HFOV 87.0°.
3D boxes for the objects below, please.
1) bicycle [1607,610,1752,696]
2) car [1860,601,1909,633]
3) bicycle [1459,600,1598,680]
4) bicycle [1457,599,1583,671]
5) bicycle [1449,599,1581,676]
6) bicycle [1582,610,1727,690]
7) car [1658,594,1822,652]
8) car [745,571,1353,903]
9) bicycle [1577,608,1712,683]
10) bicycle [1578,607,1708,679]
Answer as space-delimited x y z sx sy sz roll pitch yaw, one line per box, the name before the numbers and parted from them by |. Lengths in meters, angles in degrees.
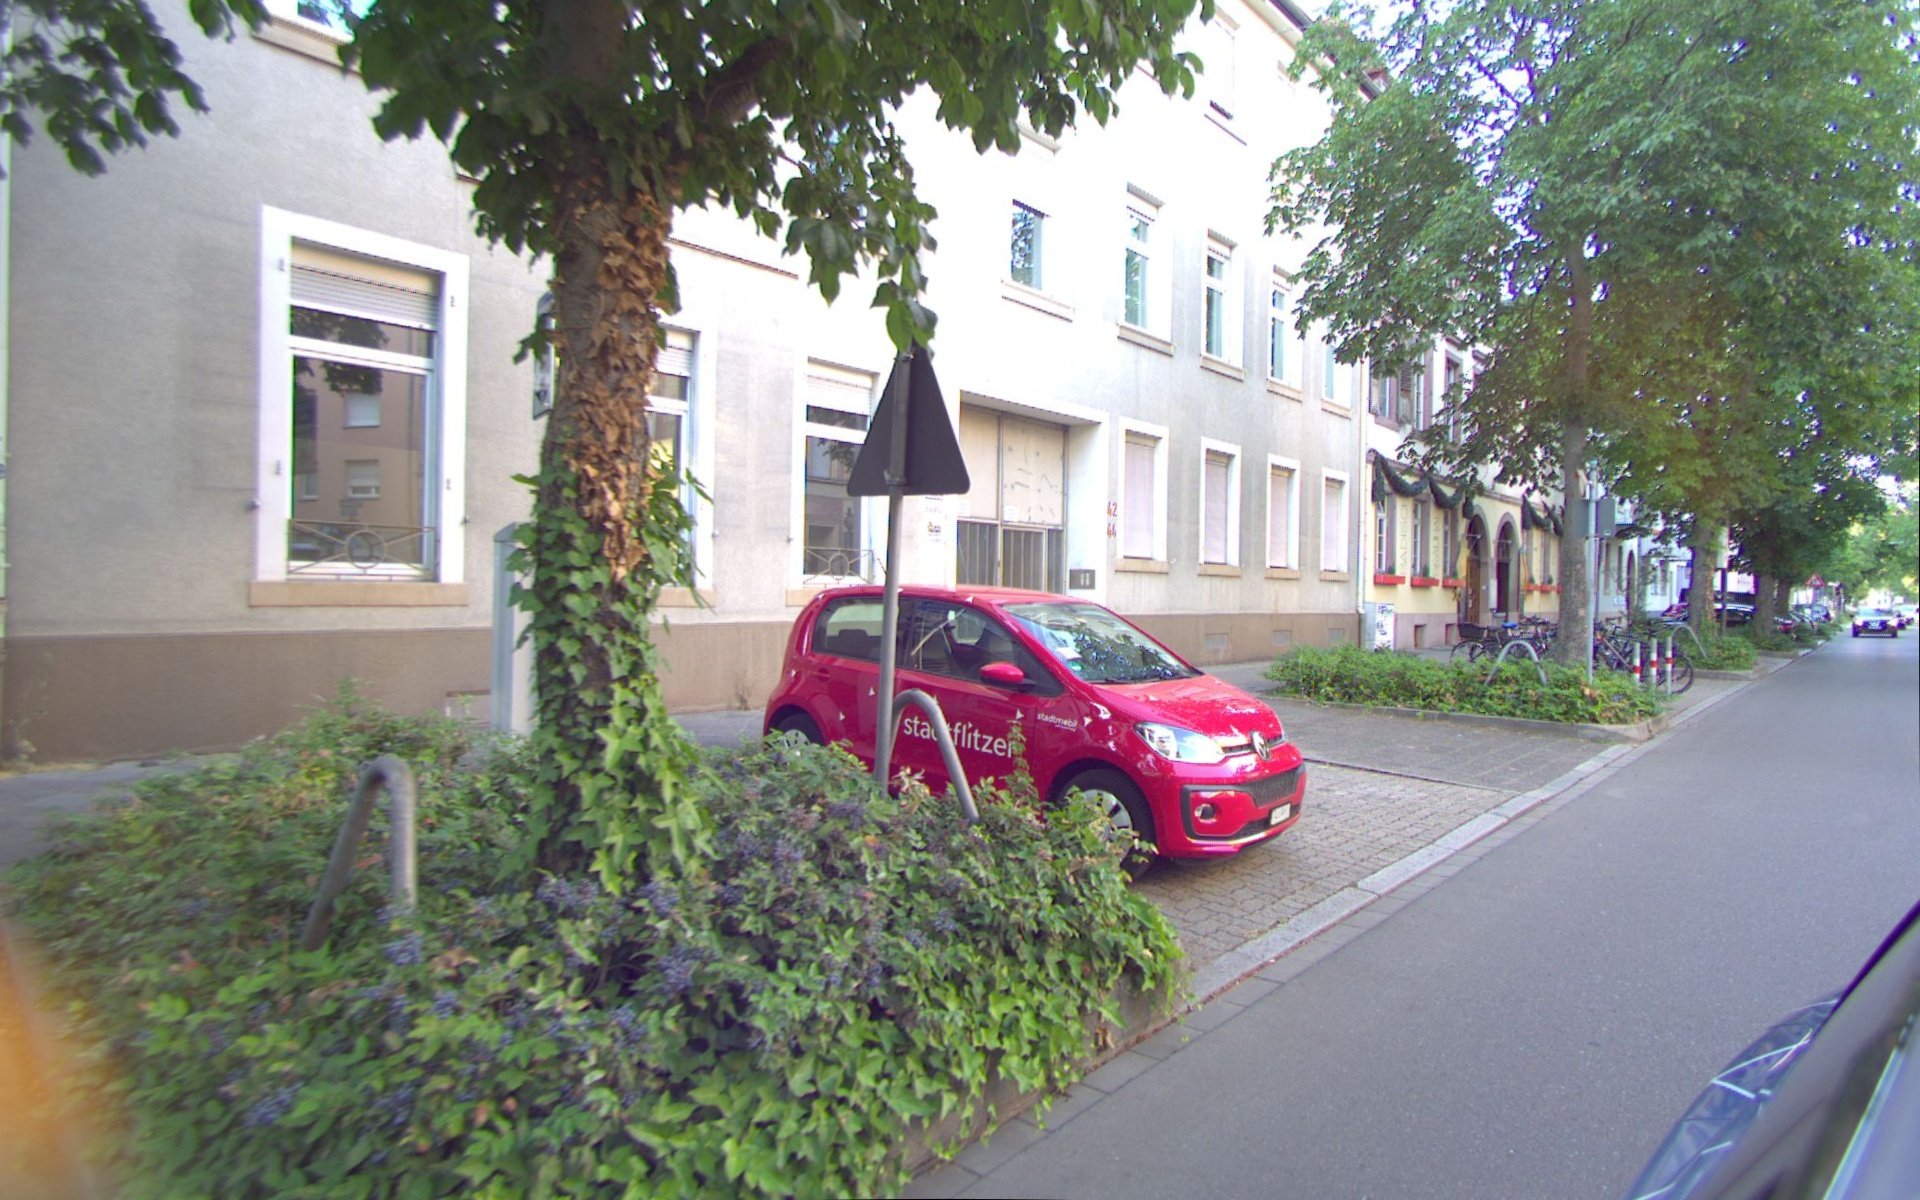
bicycle | 11.442 0.822 16.164 1.835 1.242 0.529 2 1 33
car | 48.138 0.843 52.697 1.801 1.571 3.938 2 1 43
bicycle | 9.674 0.651 17.254 2.014 1.242 0.529 2 1 33
bicycle | 10.522 0.629 19.058 2.017 1.242 0.529 2 1 37
bicycle | 9.890 0.642 18.064 2.014 1.242 0.529 2 1 33
bicycle | 11.945 0.824 17.450 2.019 1.242 0.528 2 1 39
car | 26.212 0.714 34.076 4.232 1.761 1.715 2 1 43
car | 0.382 0.586 6.440 3.608 1.495 1.639 2 1 42
bicycle | 12.581 0.809 18.644 2.019 1.242 0.528 2 1 39
bicycle | 13.062 0.799 19.397 2.019 1.242 0.528 2 1 39
